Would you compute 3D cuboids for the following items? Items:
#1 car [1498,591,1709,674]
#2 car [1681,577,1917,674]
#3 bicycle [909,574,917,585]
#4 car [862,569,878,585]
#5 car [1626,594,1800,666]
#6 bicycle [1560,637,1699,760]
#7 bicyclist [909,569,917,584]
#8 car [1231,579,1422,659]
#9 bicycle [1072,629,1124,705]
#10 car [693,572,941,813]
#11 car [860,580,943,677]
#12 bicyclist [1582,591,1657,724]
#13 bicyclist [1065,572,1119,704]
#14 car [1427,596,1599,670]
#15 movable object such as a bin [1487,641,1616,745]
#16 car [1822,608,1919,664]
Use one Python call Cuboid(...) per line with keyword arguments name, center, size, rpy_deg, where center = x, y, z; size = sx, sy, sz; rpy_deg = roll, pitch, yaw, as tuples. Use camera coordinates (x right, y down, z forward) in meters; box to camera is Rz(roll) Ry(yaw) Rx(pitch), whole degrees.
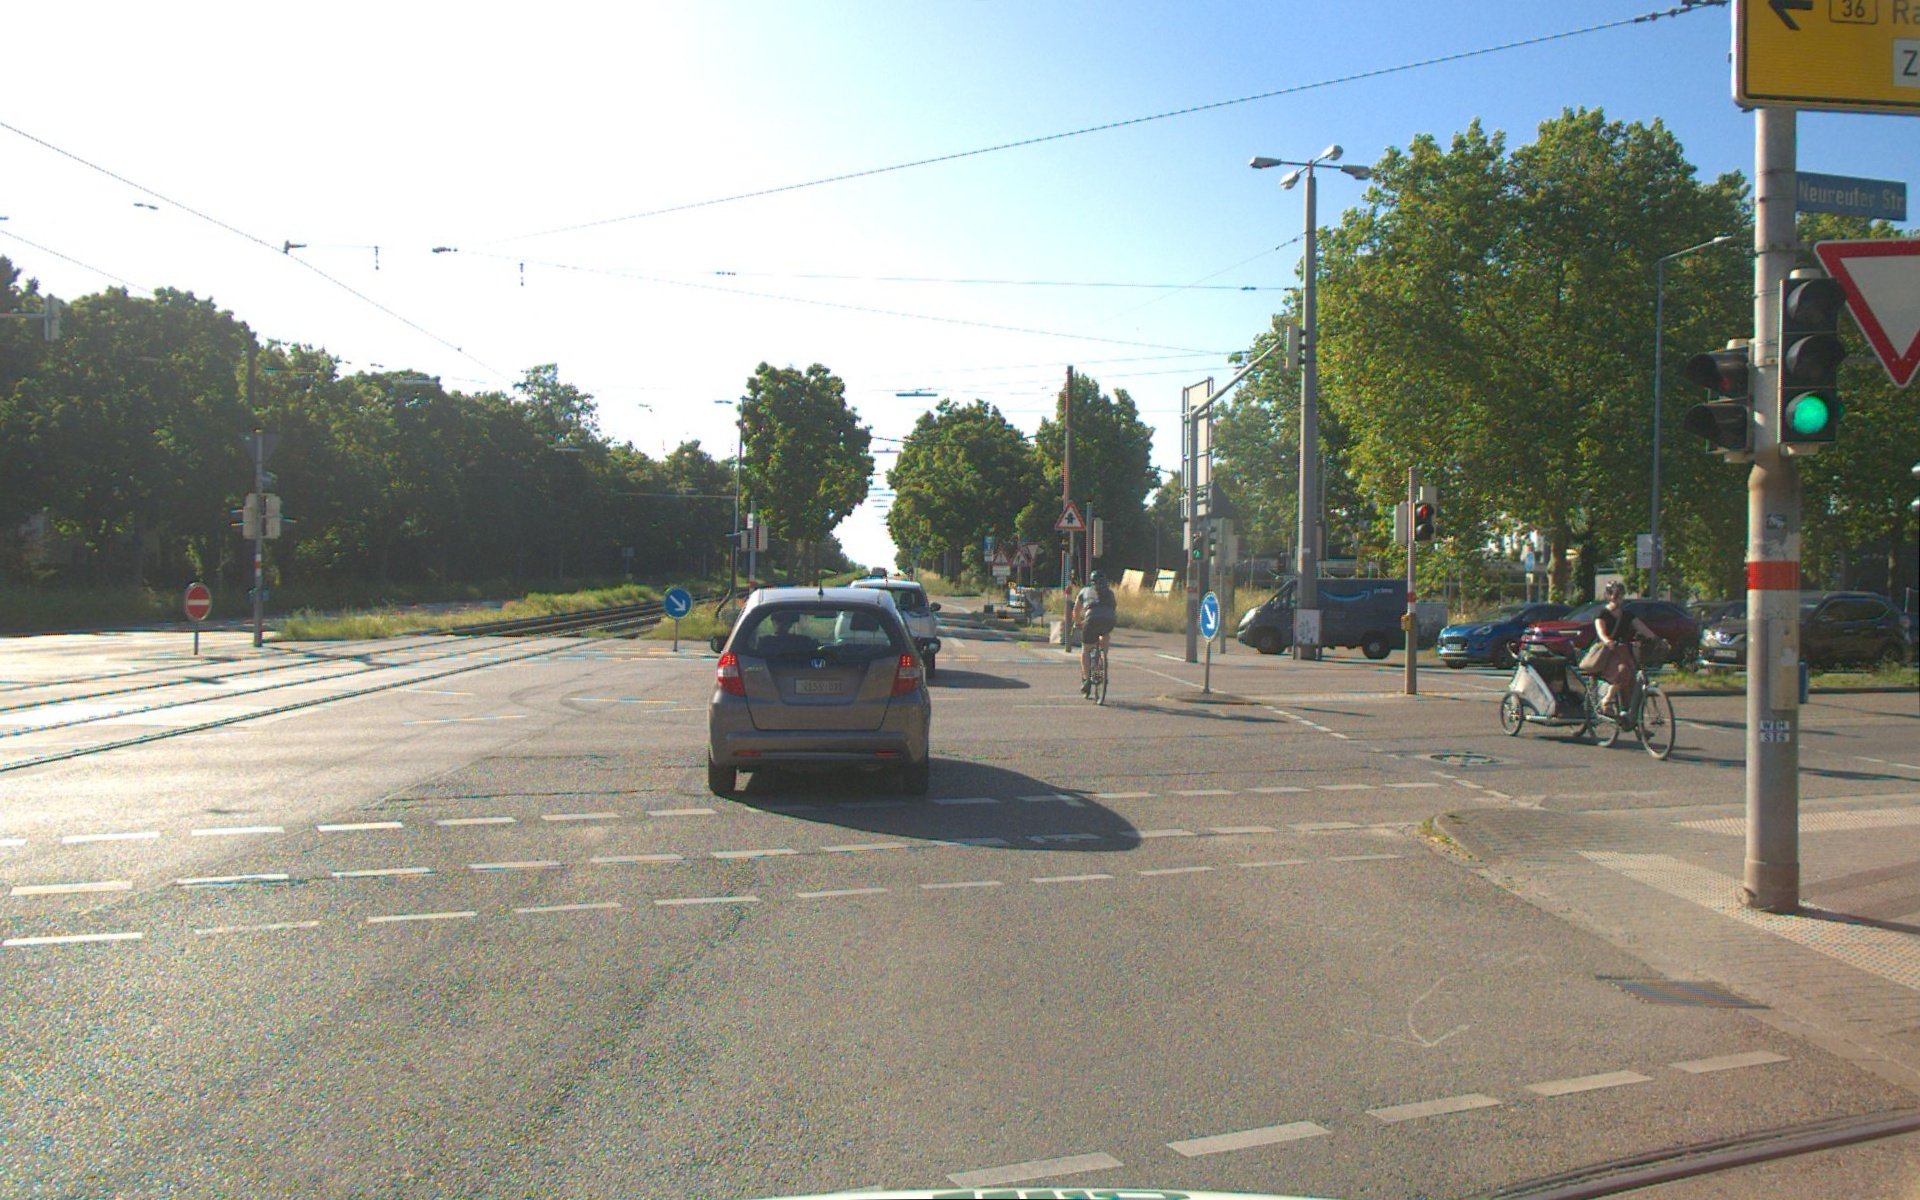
Cuboid(name="car", center=(13.300, 0.642, 34.167), size=(4.024, 1.628, 1.802), rpy_deg=(0, 0, -25))
Cuboid(name="car", center=(16.141, 0.469, 31.778), size=(4.429, 1.741, 1.903), rpy_deg=(0, 0, -28))
Cuboid(name="bicycle", center=(-5.007, -2.196, 176.269), size=(0.801, 1.066, 2.505), rpy_deg=(2, -1, -1))
Cuboid(name="car", center=(-11.815, -2.977, 217.155), size=(1.953, 2.049, 3.999), rpy_deg=(1, 0, -1))
Cuboid(name="car", center=(18.889, 0.730, 41.476), size=(4.115, 1.708, 1.916), rpy_deg=(0, 0, -29))
Cuboid(name="bicycle", center=(6.804, 0.976, 16.908), size=(0.458, 1.138, 1.817), rpy_deg=(1, 0, -8))
Cuboid(name="bicyclist", center=(-4.988, -2.554, 176.293), size=(0.801, 1.551, 0.966), rpy_deg=(2, -1, -1))
Cuboid(name="car", center=(10.366, 0.496, 46.702), size=(4.998, 2.106, 2.131), rpy_deg=(1, 0, 21))
Cuboid(name="bicycle", center=(1.831, 0.873, 22.153), size=(0.513, 0.939, 2.089), rpy_deg=(0, 0, 0))
Cuboid(name="car", center=(-1.005, 0.607, 13.216), size=(1.637, 1.541, 3.674), rpy_deg=(3, 2, -1))
Cuboid(name="car", center=(-0.982, 0.461, 28.175), size=(1.324, 1.554, 3.122), rpy_deg=(0, 0, -1))
Cuboid(name="bicyclist", center=(6.884, 0.586, 17.274), size=(0.500, 1.364, 0.564), rpy_deg=(1, 0, -9))
Cuboid(name="bicyclist", center=(1.735, 0.490, 21.820), size=(0.602, 1.709, 0.933), rpy_deg=(0, 0, -1))
Cuboid(name="car", center=(12.841, 0.738, 38.365), size=(3.804, 1.628, 1.697), rpy_deg=(0, 0, -29))
Cuboid(name="movable object such as a bin", center=(6.615, 1.025, 18.563), size=(0.891, 1.087, 1.315), rpy_deg=(1, 0, -6))
Cuboid(name="car", center=(25.369, 0.934, 44.280), size=(4.503, 1.432, 1.917), rpy_deg=(0, 0, -28))
